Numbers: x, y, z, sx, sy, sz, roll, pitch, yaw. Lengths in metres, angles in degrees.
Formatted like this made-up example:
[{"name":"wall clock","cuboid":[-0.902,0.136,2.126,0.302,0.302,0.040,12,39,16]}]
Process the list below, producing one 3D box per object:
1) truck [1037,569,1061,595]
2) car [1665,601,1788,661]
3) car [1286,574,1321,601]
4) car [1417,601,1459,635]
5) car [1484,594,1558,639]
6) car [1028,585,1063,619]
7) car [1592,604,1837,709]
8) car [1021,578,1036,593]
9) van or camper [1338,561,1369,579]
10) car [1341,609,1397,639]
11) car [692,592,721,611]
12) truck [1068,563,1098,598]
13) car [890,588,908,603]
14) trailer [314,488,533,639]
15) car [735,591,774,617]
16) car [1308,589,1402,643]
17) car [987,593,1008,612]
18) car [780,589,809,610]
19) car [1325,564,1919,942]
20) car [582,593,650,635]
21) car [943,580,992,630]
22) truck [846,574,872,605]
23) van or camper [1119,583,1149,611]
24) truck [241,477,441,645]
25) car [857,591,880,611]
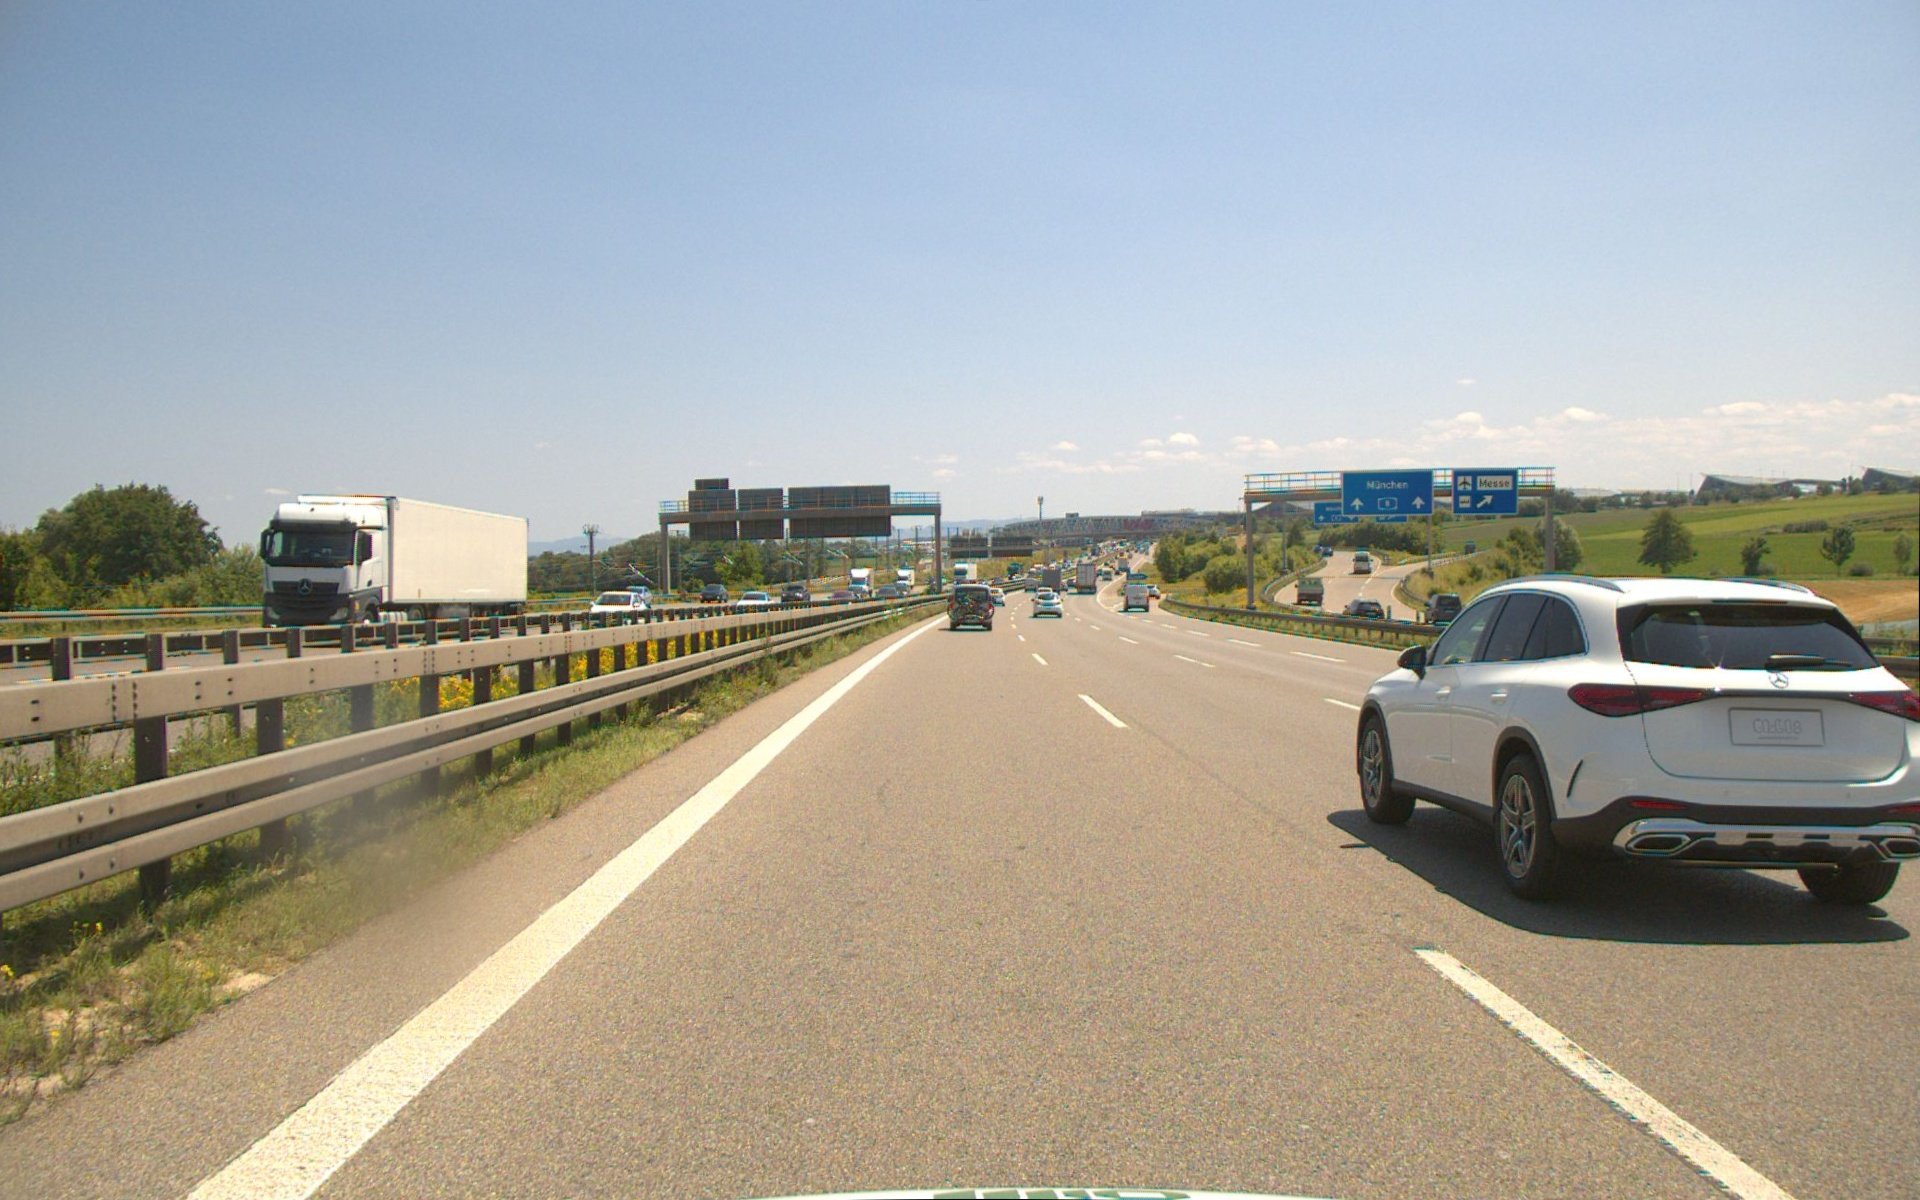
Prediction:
[{"name":"truck","cuboid":[11.441,-2.293,211.993,2.645,3.163,10.665,0,0,5]},{"name":"car","cuboid":[21.711,0.843,47.004,1.664,1.602,4.129,0,0,1]},{"name":"car","cuboid":[27.500,-0.987,132.368,1.953,2.049,3.999,0,0,-1]},{"name":"car","cuboid":[28.907,1.066,100.140,1.897,1.957,4.183,0,0,9]},{"name":"car","cuboid":[24.755,0.711,73.094,1.899,1.957,4.180,0,0,1]},{"name":"car","cuboid":[5.093,0.124,98.749,1.887,1.952,4.518,0,0,1]},{"name":"car","cuboid":[11.613,0.810,25.850,1.749,1.462,4.848,0,0,2]},{"name":"car","cuboid":[9.839,-2.093,237.346,2.140,2.037,4.004,1,3,4]},{"name":"van or camper","cuboid":[47.279,-3.623,198.808,2.479,2.049,4.457,0,0,-4]},{"name":"car","cuboid":[22.679,1.316,91.949,1.954,1.624,3.998,0,0,-3]},{"name":"car","cuboid":[-21.908,0.102,142.904,1.809,1.558,4.223,1,0,1]},{"name":"truck","cuboid":[16.930,-2.729,226.599,3.954,4.335,11.767,0,2,5]},{"name":"car","cuboid":[-6.620,-0.466,179.329,1.712,1.653,4.831,0,0,1]},{"name":"trailer","cuboid":[-16.951,-1.067,53.541,2.972,4.314,12.249,1,0,0]},{"name":"car","cuboid":[-11.923,0.214,96.284,1.623,1.428,4.759,1,0,1]},{"name":"car","cuboid":[13.282,0.526,55.895,1.954,1.720,3.996,0,0,-5]},{"name":"car","cuboid":[3.185,0.222,140.097,1.543,1.579,3.966,0,0,4]},{"name":"car","cuboid":[-13.797,-0.053,137.943,1.809,1.684,4.910,1,0,1]},{"name":"car","cuboid":[3.718,0.689,9.885,1.860,1.676,4.997,0,0,-1]},{"name":"car","cuboid":[-12.862,0.496,62.083,1.706,1.515,4.007,1,0,0]},{"name":"car","cuboid":[0.333,0.208,67.740,1.887,1.952,4.949,0,0,1]},{"name":"truck","cuboid":[-11.387,-1.153,186.287,2.327,3.334,7.661,0,0,1]},{"name":"van or camper","cuboid":[13.156,-0.192,125.106,2.110,2.049,4.306,0,0,4]},{"name":"truck","cuboid":[-17.078,-1.030,46.179,2.972,4.314,6.685,1,0,0]},{"name":"car","cuboid":[-7.762,0.071,141.129,1.640,1.643,4.362,0,0,1]}]
